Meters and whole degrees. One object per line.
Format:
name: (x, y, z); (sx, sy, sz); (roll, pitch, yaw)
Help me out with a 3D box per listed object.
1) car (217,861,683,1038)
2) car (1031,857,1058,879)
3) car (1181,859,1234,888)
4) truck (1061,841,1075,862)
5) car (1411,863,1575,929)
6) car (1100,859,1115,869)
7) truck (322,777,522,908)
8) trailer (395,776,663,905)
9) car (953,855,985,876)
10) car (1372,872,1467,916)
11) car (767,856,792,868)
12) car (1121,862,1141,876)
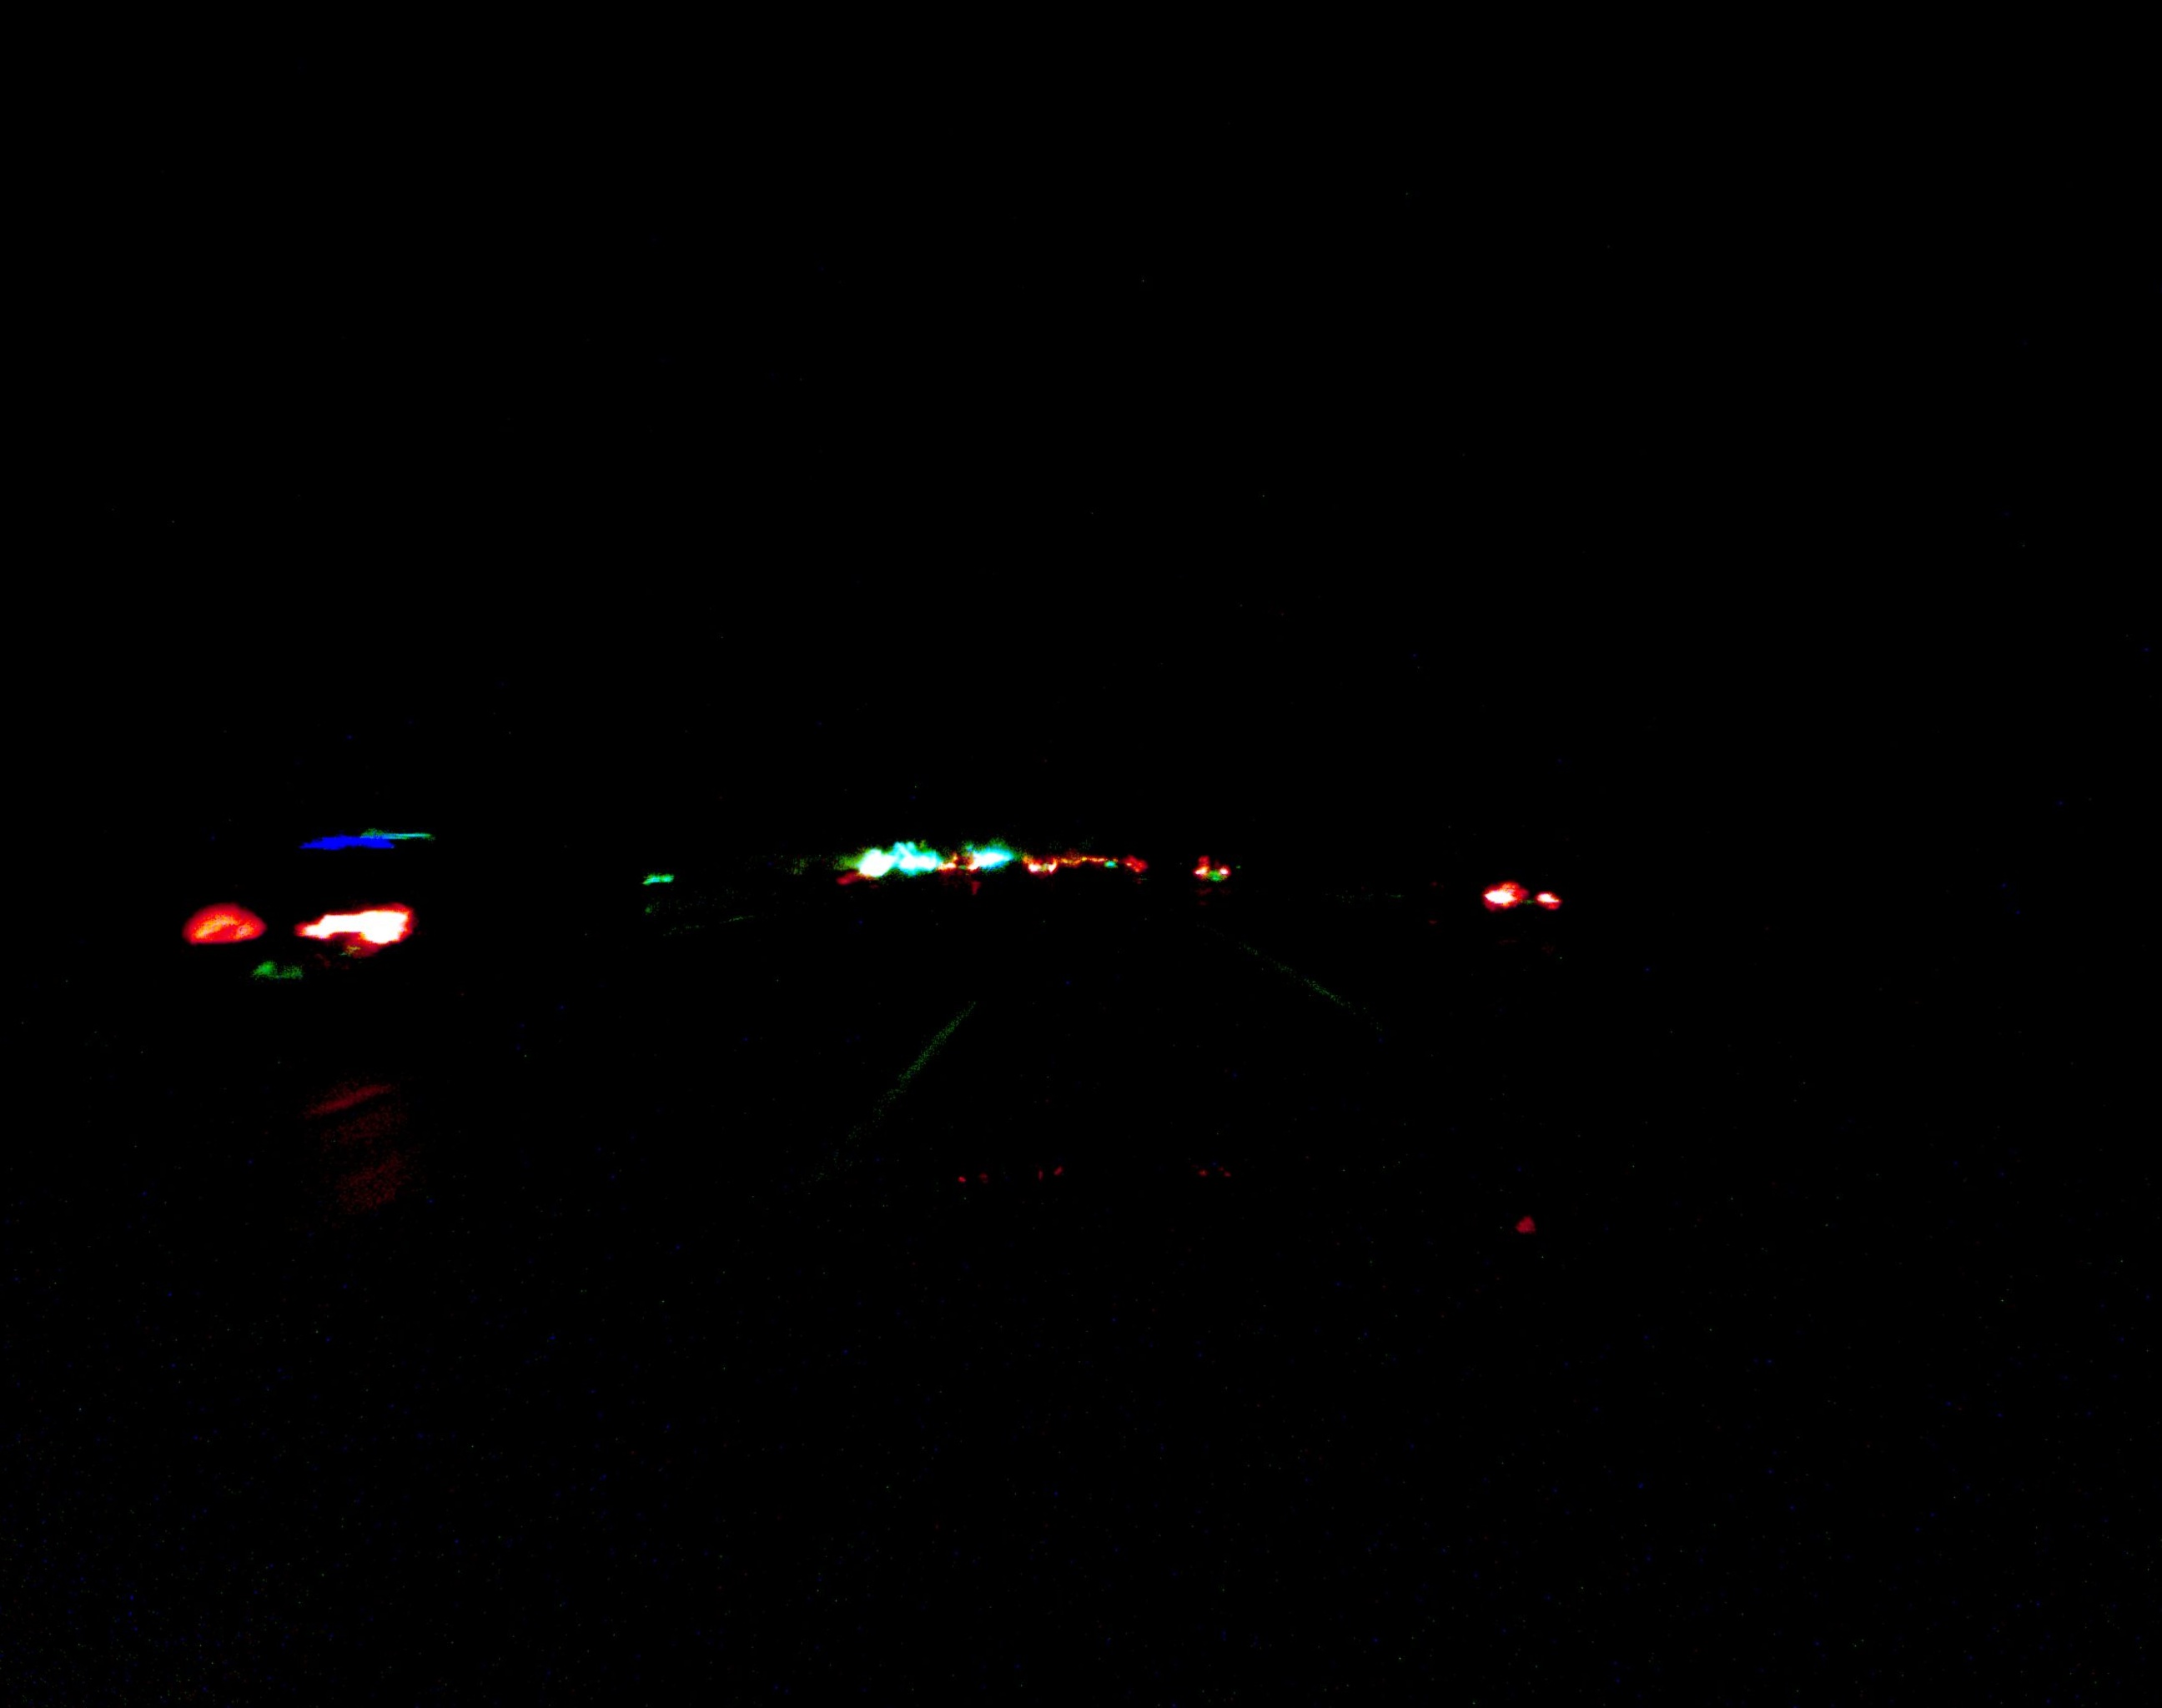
car: (-6.775, 0.869, 9.633); (1.853, 1.541, 4.748); (0, 0, -1)
car: (-2.546, 0.955, 57.704); (1.797, 1.487, 3.998); (2, 0, -1)
car: (7.335, 1.109, 47.705); (2.053, 1.519, 5.010); (2, 0, -3)
truck: (-1.987, -0.338, 127.561); (1.987, 3.043, 6.464); (-3, -1, 0)
car: (10.261, 0.981, 20.710); (1.987, 1.449, 4.335); (1, 0, 0)
car: (3.367, 1.309, 103.101); (1.578, 1.246, 3.063); (1, -1, -5)
truck: (-23.397, -0.308, 29.323); (2.530, 4.156, 5.639); (-3, -2, -1)
trailer: (-23.493, -0.329, 36.345); (2.541, 4.544, 13.909); (-3, -1, -1)
car: (-7.201, 0.742, 52.597); (1.658, 1.236, 3.757); (-3, -1, -3)
car: (13.029, 1.510, 31.579); (1.717, 1.497, 4.036); (1, 0, -5)
car: (-45.702, 1.156, 123.452); (1.778, 1.787, 4.275); (2, 0, 4)
car: (5.032, 1.498, 81.971); (1.578, 1.246, 3.063); (2, 0, -5)
